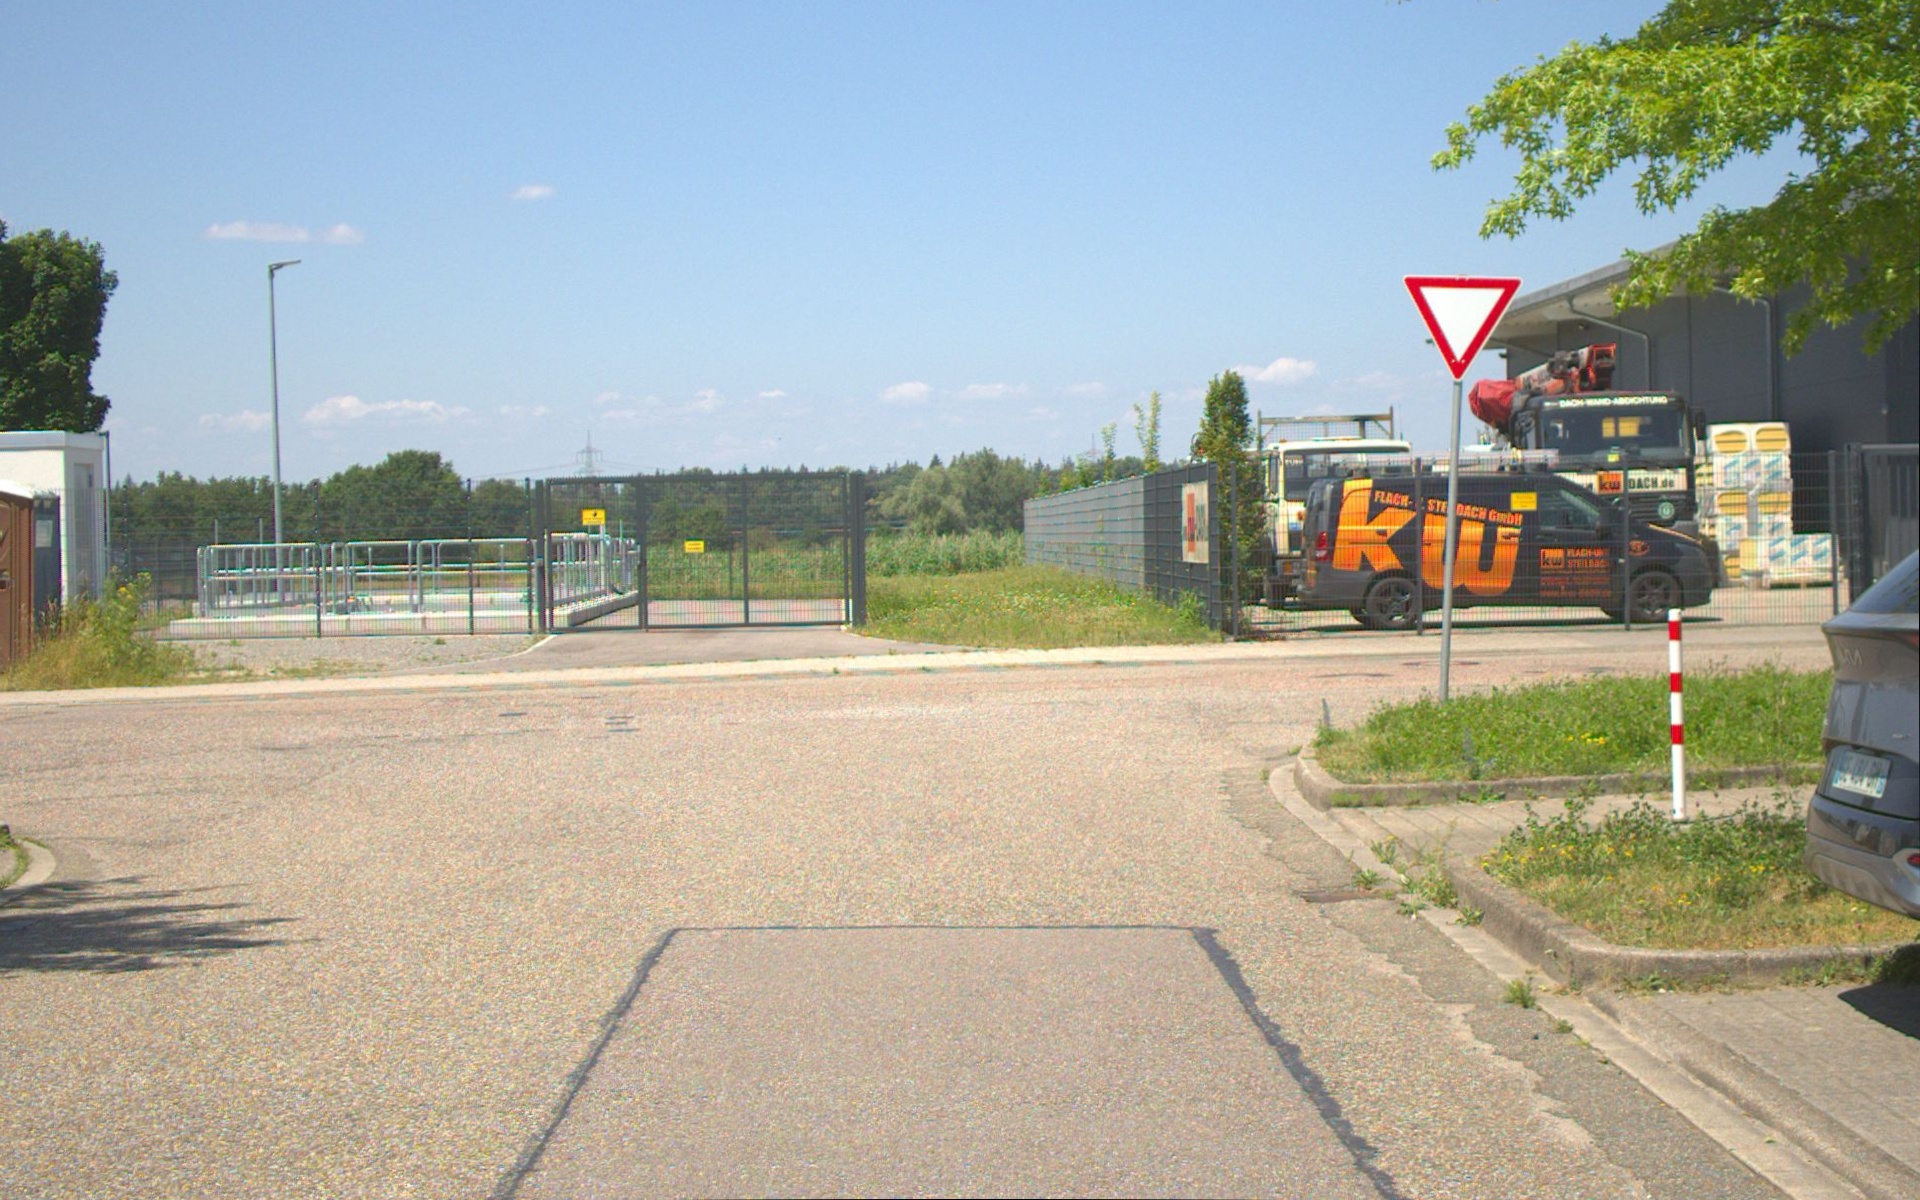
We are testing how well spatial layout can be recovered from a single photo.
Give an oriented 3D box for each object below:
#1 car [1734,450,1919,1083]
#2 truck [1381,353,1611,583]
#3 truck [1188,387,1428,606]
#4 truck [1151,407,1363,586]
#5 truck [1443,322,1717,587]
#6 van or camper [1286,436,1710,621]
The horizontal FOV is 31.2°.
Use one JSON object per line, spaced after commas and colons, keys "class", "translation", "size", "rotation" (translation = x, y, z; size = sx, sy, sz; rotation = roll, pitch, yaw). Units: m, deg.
{"class": "car", "translation": [4.584, 0.324, 9.781], "size": [4.279, 1.638, 1.851], "rotation": [-2, 1, 0]}
{"class": "truck", "translation": [9.711, -2.362, 63.028], "size": [2.921, 3.915, 6.936], "rotation": [-1, 1, -1]}
{"class": "truck", "translation": [5.181, -1.551, 52.358], "size": [2.726, 3.051, 6.936], "rotation": [-1, 1, -1]}
{"class": "truck", "translation": [5.156, -1.809, 60.891], "size": [2.921, 2.927, 6.936], "rotation": [-1, 1, -1]}
{"class": "truck", "translation": [9.813, -2.266, 55.138], "size": [2.921, 3.915, 6.936], "rotation": [-1, 1, -1]}
{"class": "van or camper", "translation": [6.679, -0.915, 43.037], "size": [4.936, 2.156, 2.000], "rotation": [-1, 2, -1]}
